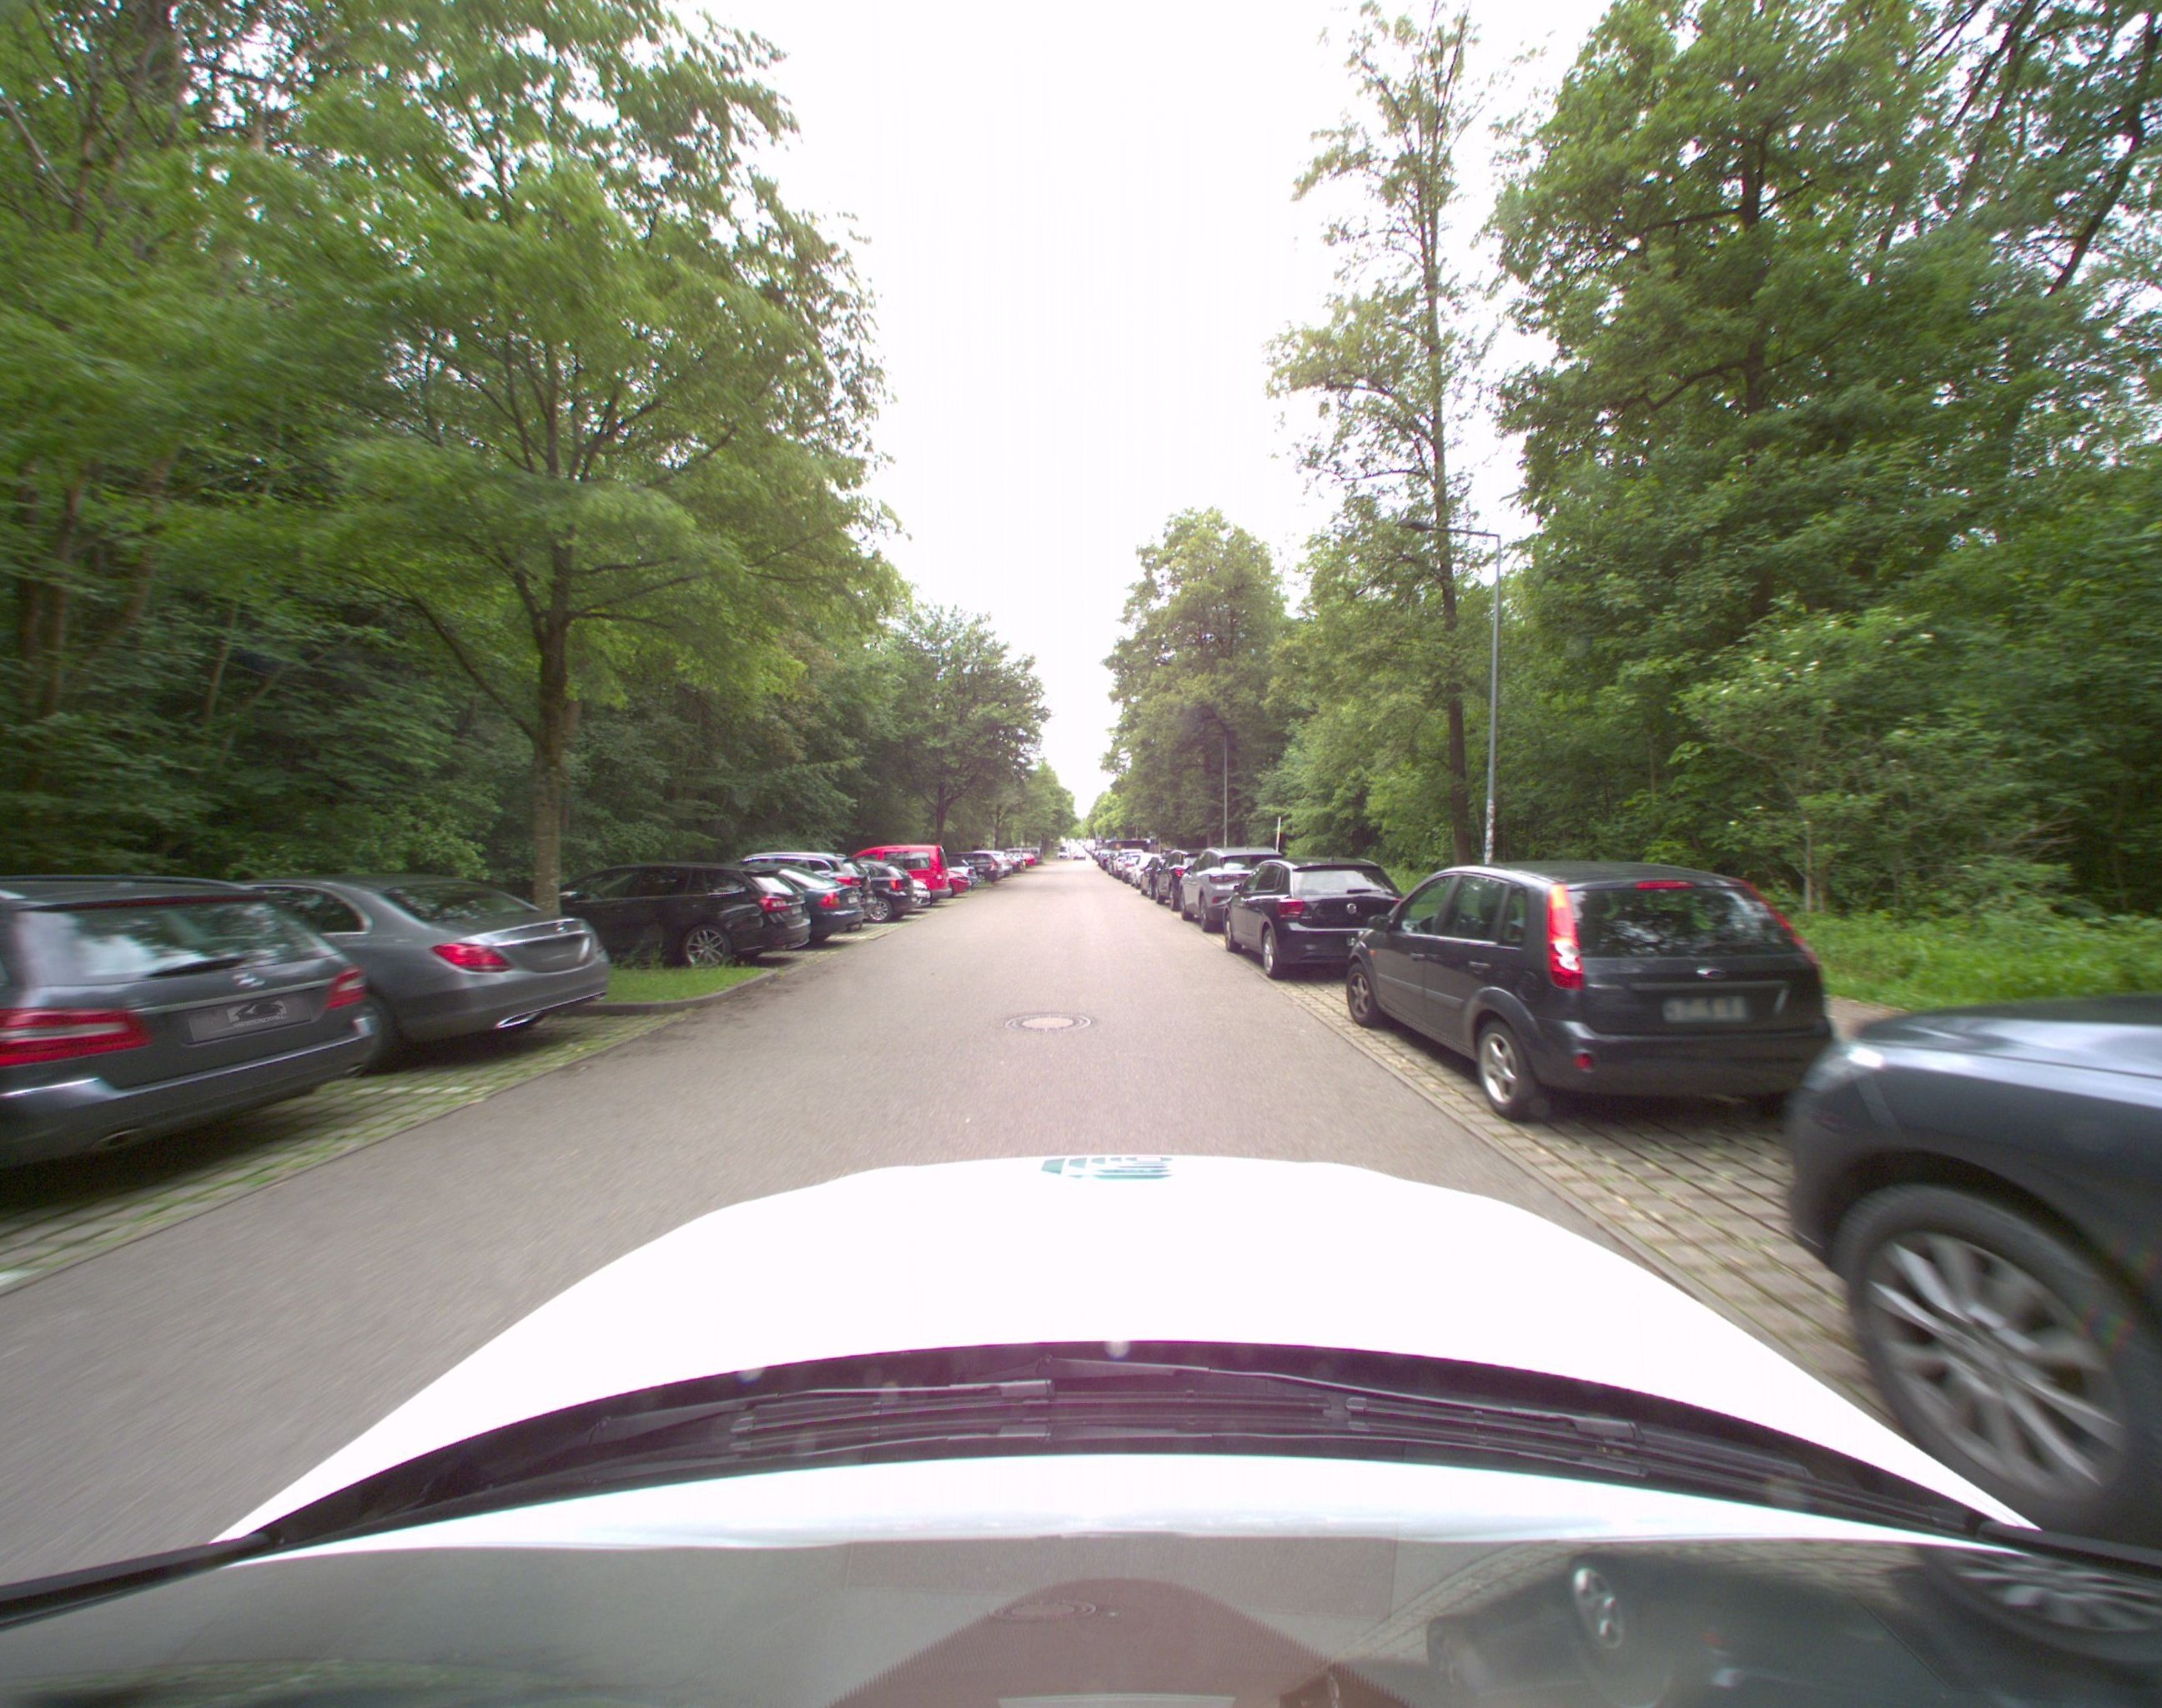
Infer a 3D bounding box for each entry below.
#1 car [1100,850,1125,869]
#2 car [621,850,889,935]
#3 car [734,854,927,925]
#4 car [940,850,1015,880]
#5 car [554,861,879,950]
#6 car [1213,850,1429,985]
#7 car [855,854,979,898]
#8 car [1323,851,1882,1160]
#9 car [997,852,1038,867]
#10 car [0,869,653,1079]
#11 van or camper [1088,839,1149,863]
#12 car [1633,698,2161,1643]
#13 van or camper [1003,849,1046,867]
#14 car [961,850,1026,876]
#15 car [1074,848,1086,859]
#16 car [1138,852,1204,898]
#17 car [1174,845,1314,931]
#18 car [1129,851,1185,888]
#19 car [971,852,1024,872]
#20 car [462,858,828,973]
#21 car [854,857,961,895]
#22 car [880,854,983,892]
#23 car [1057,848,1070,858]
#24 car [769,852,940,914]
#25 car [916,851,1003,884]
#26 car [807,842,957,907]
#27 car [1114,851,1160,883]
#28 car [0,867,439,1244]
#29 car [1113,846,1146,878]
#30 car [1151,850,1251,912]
[{"bbox_3d":[2.521,0.435,65.772,1.914,1.520,3.888,0,0,1],"label":"car"},{"bbox_3d":[-6.574,0.751,16.850,4.718,1.595,1.959,-1,0,-1],"label":"car"},{"bbox_3d":[-5.796,0.788,19.311,3.979,1.530,1.997,-1,0,-4],"label":"car"},{"bbox_3d":[-5.849,0.612,46.418,3.973,1.640,1.735,-1,0,1],"label":"car"},{"bbox_3d":[-6.121,0.835,14.147,4.718,1.343,1.986,-1,0,-1],"label":"car"},{"bbox_3d":[3.006,0.693,11.116,1.632,1.477,4.149,0,0,-1],"label":"car"},{"bbox_3d":[-5.786,0.752,29.152,3.974,1.474,2.115,-1,0,0],"label":"car"},{"bbox_3d":[3.190,0.742,6.073,1.593,1.504,4.090,0,0,1],"label":"car"},{"bbox_3d":[-5.984,0.476,76.583,3.580,1.361,1.821,-1,0,-12],"label":"car"},{"bbox_3d":[-6.168,0.890,6.821,4.093,1.431,1.965,-1,0,2],"label":"car"},{"bbox_3d":[4.795,-0.399,104.774,7.335,2.888,2.637,0,3,-15],"label":"van or camper"},{"bbox_3d":[2.925,0.588,0.493,1.883,1.747,4.948,0,0,1],"label":"car"},{"bbox_3d":[-6.137,0.430,88.431,4.481,1.868,1.910,0,3,-15],"label":"van or camper"},{"bbox_3d":[-5.746,0.562,53.841,3.973,1.640,2.009,-1,0,1],"label":"car"},{"bbox_3d":[-0.182,-0.084,114.431,1.685,1.415,3.153,0,3,-1],"label":"car"},{"bbox_3d":[2.970,0.656,27.670,1.662,1.444,3.810,0,0,-3],"label":"car"},{"bbox_3d":[3.204,0.595,16.969,1.972,1.537,4.621,0,0,0],"label":"car"},{"bbox_3d":[3.160,0.616,34.630,1.931,1.475,3.990,0,0,-1],"label":"car"},{"bbox_3d":[-6.366,0.597,62.018,3.983,1.382,1.995,-1,0,-7],"label":"car"},{"bbox_3d":[-6.070,0.813,11.797,4.288,1.449,1.754,-1,0,-5],"label":"car"},{"bbox_3d":[-6.751,0.846,32.036,3.734,1.369,1.936,-1,0,1],"label":"car"},{"bbox_3d":[-6.228,0.773,34.246,3.973,1.474,1.848,-1,0,1],"label":"car"},{"bbox_3d":[-2.507,-0.125,118.105,1.732,1.161,3.413,0,3,2],"label":"car"},{"bbox_3d":[-5.947,0.724,21.756,3.975,1.530,1.999,-1,0,-1],"label":"car"},{"bbox_3d":[-5.789,0.627,39.088,3.819,1.536,1.871,-1,0,1],"label":"car"},{"bbox_3d":[-5.827,0.577,24.303,3.977,1.816,2.113,-1,0,-3],"label":"car"},{"bbox_3d":[2.753,0.591,40.522,1.719,1.494,3.767,0,0,-5],"label":"car"},{"bbox_3d":[-6.222,0.853,4.252,4.097,1.480,1.996,-1,0,-1],"label":"car"},{"bbox_3d":[2.724,0.434,46.314,1.705,1.728,4.000,0,0,0],"label":"car"},{"bbox_3d":[3.212,0.660,22.606,1.973,1.537,4.162,0,0,-3],"label":"car"}]
